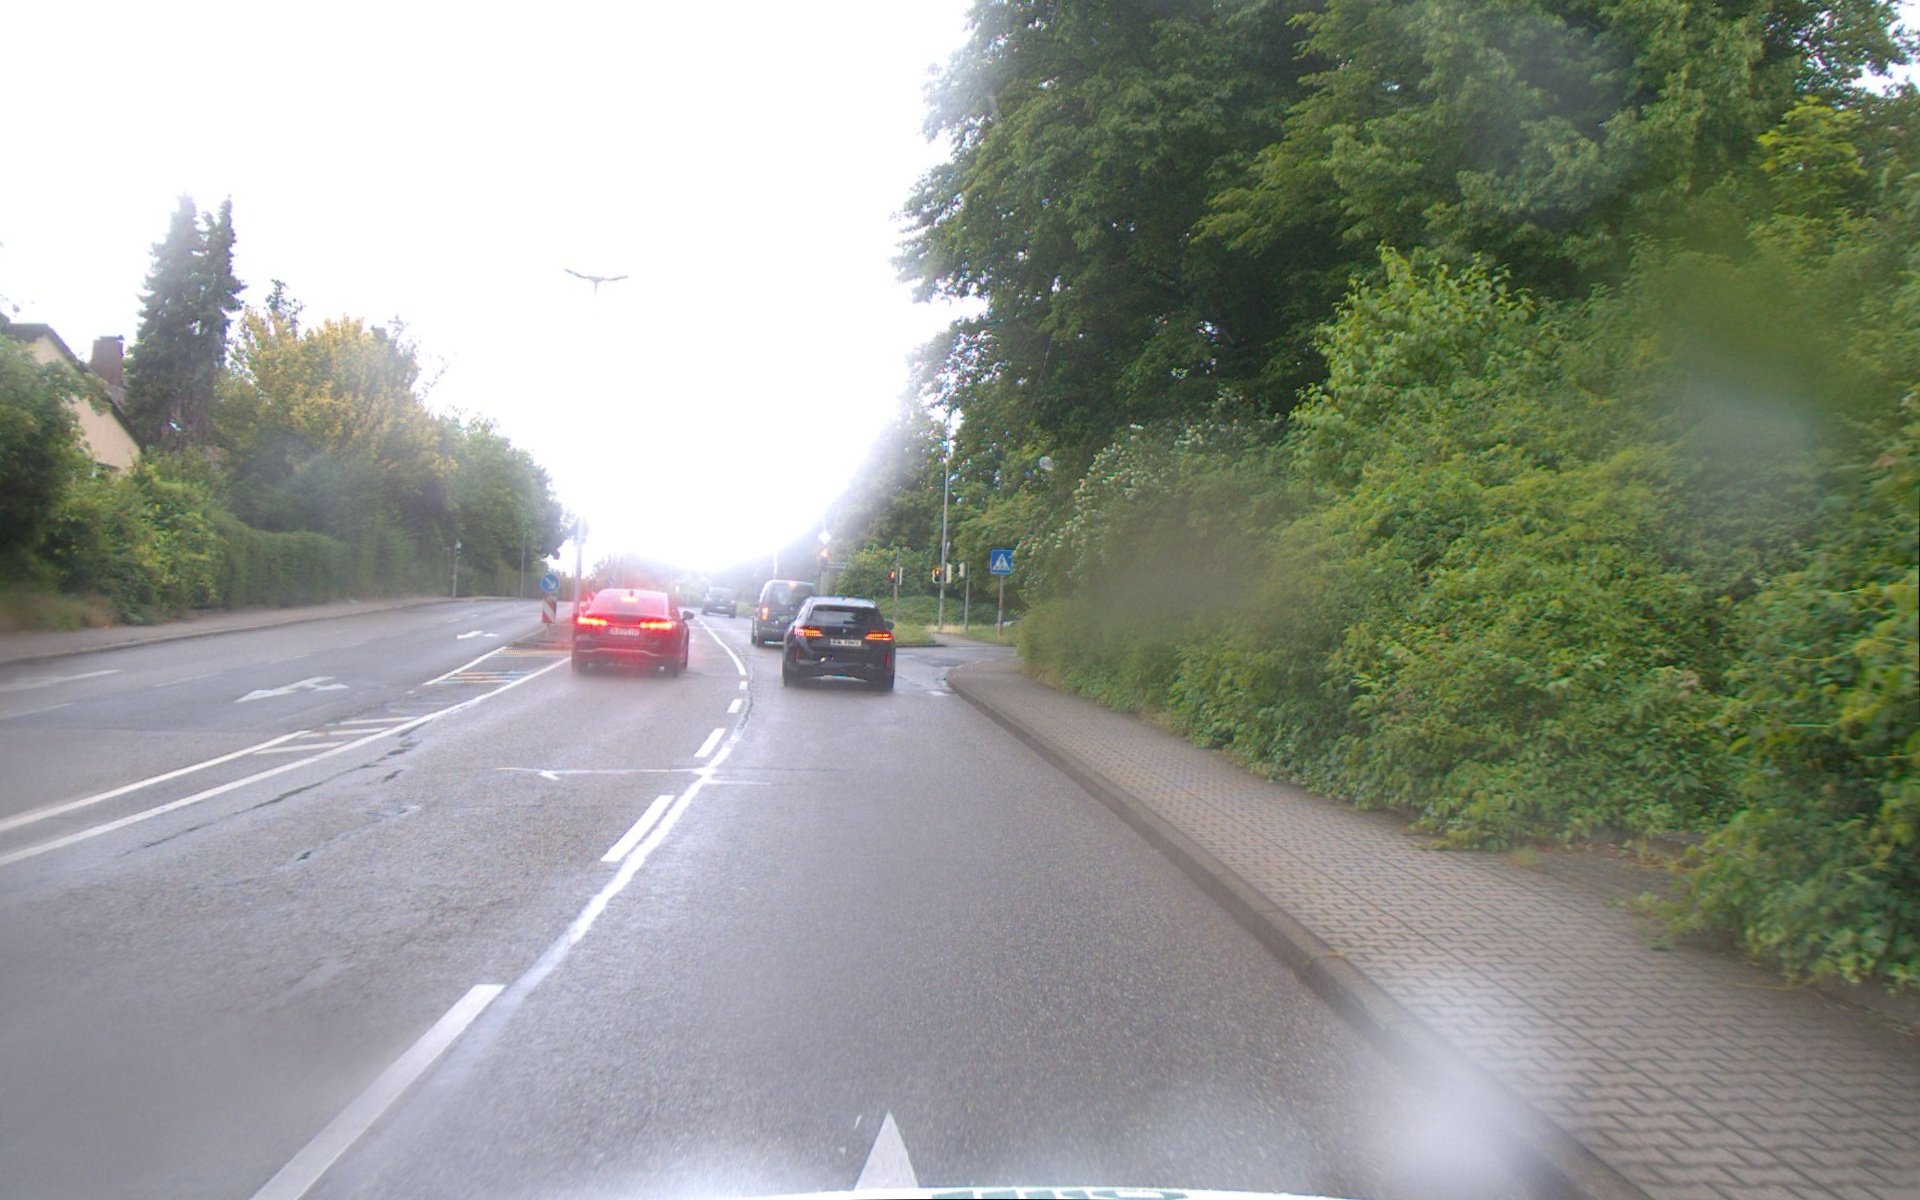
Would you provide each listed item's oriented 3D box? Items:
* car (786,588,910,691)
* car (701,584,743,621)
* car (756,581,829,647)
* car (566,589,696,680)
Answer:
[{"bbox_3d":[-2.041,0.634,28.920,1.955,1.614,4.657,1,0,-6],"label":"car"},{"bbox_3d":[-12.387,0.155,85.928,1.819,1.691,3.986,2,-3,-13],"label":"car"},{"bbox_3d":[-4.735,0.409,46.782,1.955,1.779,3.995,0,-1,-6],"label":"car"},{"bbox_3d":[-5.826,0.566,29.782,1.869,1.422,4.849,3,0,-7],"label":"car"}]
